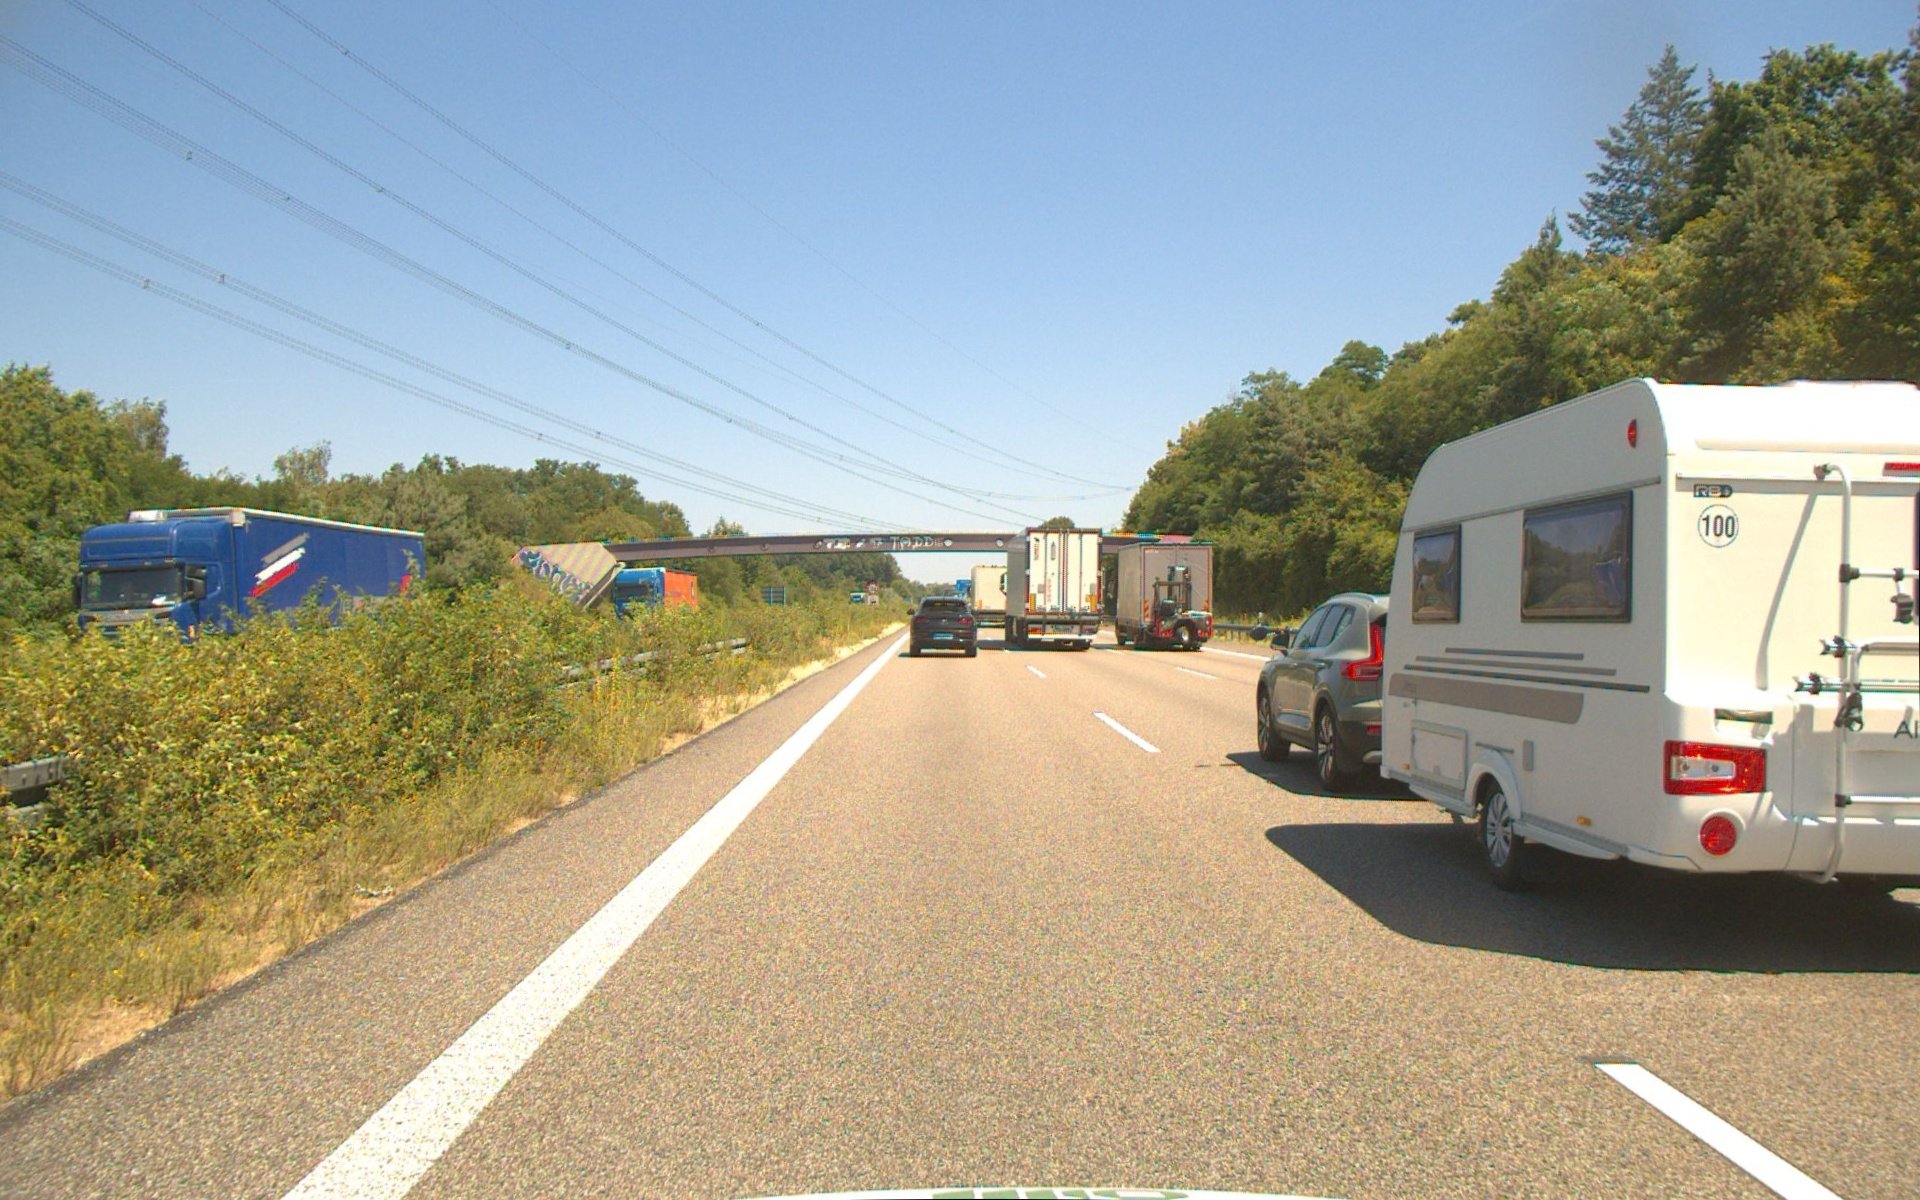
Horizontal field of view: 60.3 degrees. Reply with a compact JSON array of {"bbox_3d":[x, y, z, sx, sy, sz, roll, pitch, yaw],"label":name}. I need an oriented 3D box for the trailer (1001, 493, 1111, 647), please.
[{"bbox_3d":[3.319,-0.942,60.507,3.024,4.970,12.255,1,0,-1],"label":"trailer"}]

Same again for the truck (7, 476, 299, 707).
[{"bbox_3d":[-17.597,-0.177,36.678,3.025,4.484,6.799,-3,0,-1],"label":"truck"}]

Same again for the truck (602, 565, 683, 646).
[{"bbox_3d":[-18.637,0.314,97.551,3.276,4.484,7.970,-1,0,-1],"label":"truck"}]

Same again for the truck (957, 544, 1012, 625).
[{"bbox_3d":[1.580,-1.039,113.630,3.440,5.257,10.256,1,0,-1],"label":"truck"}]

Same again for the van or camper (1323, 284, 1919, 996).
[{"bbox_3d":[4.058,0.137,9.536,2.389,2.721,6.348,0,0,-1],"label":"van or camper"}]

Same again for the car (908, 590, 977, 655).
[{"bbox_3d":[-0.559,0.629,48.822,1.953,1.803,3.998,0,0,-2],"label":"car"}]

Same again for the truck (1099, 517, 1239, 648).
[{"bbox_3d":[7.562,-0.555,61.661,3.498,4.319,11.649,1,0,-1],"label":"truck"}]

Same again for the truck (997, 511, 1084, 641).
[{"bbox_3d":[3.208,-0.896,67.533,3.024,4.970,6.596,1,-1,-1],"label":"truck"}]

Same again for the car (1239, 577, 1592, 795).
[{"bbox_3d":[3.922,0.664,15.138,1.841,1.640,4.701,-1,0,-1],"label":"car"}]

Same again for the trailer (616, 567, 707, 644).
[{"bbox_3d":[-18.729,0.320,104.946,3.275,4.484,14.163,-1,0,-1],"label":"trailer"}]

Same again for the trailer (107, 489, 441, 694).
[{"bbox_3d":[-17.676,-0.191,44.355,3.025,4.484,14.228,-3,0,-1],"label":"trailer"}]
